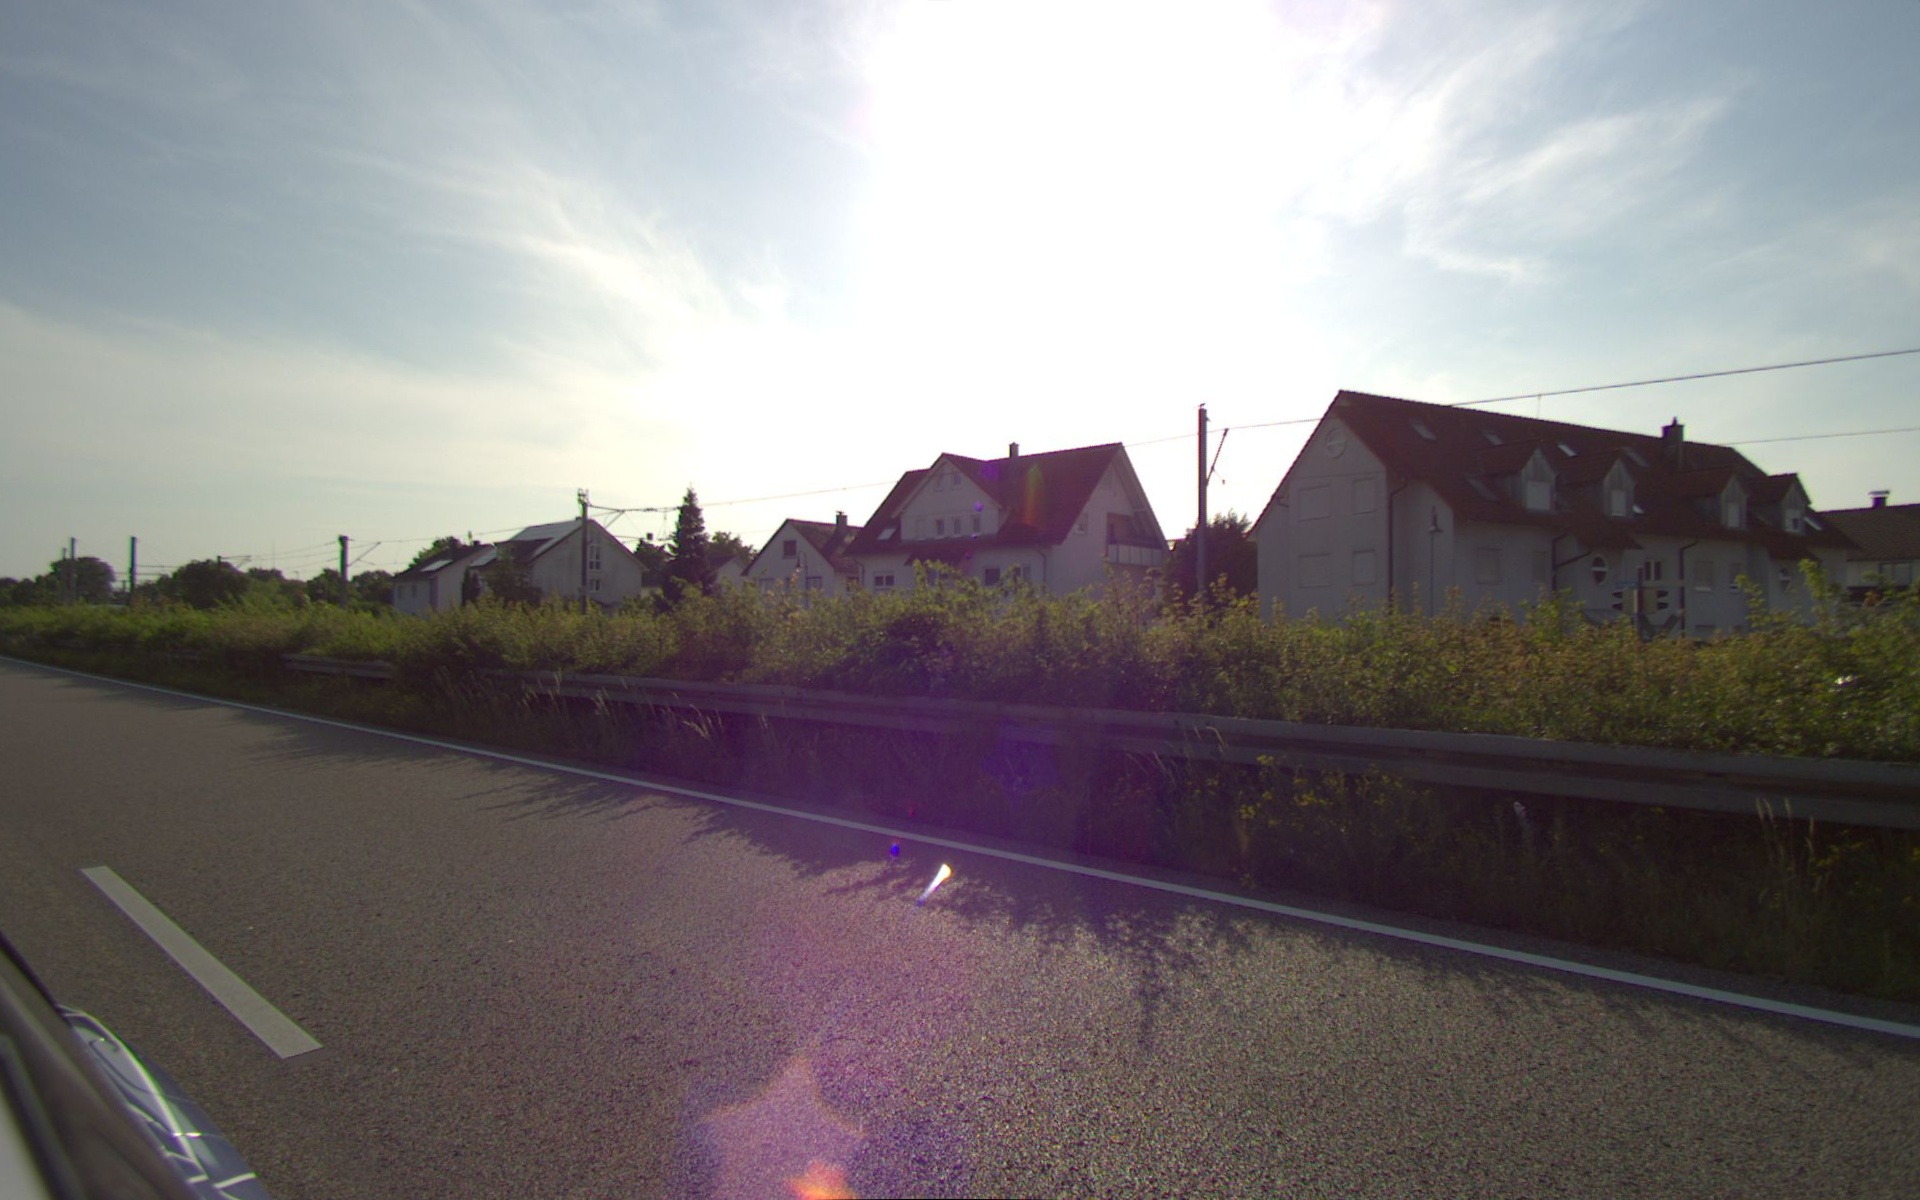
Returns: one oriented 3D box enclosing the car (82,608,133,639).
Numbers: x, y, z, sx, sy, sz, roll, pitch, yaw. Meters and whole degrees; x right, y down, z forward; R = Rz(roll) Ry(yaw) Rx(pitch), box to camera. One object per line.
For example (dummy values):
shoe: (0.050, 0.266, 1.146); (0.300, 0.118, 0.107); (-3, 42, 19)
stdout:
car: (-59.081, 1.630, 70.133); (4.869, 2.029, 1.973); (-1, 0, 41)

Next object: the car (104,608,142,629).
car: (-74.095, 1.655, 89.616); (3.998, 1.763, 1.973); (-1, 0, 41)
